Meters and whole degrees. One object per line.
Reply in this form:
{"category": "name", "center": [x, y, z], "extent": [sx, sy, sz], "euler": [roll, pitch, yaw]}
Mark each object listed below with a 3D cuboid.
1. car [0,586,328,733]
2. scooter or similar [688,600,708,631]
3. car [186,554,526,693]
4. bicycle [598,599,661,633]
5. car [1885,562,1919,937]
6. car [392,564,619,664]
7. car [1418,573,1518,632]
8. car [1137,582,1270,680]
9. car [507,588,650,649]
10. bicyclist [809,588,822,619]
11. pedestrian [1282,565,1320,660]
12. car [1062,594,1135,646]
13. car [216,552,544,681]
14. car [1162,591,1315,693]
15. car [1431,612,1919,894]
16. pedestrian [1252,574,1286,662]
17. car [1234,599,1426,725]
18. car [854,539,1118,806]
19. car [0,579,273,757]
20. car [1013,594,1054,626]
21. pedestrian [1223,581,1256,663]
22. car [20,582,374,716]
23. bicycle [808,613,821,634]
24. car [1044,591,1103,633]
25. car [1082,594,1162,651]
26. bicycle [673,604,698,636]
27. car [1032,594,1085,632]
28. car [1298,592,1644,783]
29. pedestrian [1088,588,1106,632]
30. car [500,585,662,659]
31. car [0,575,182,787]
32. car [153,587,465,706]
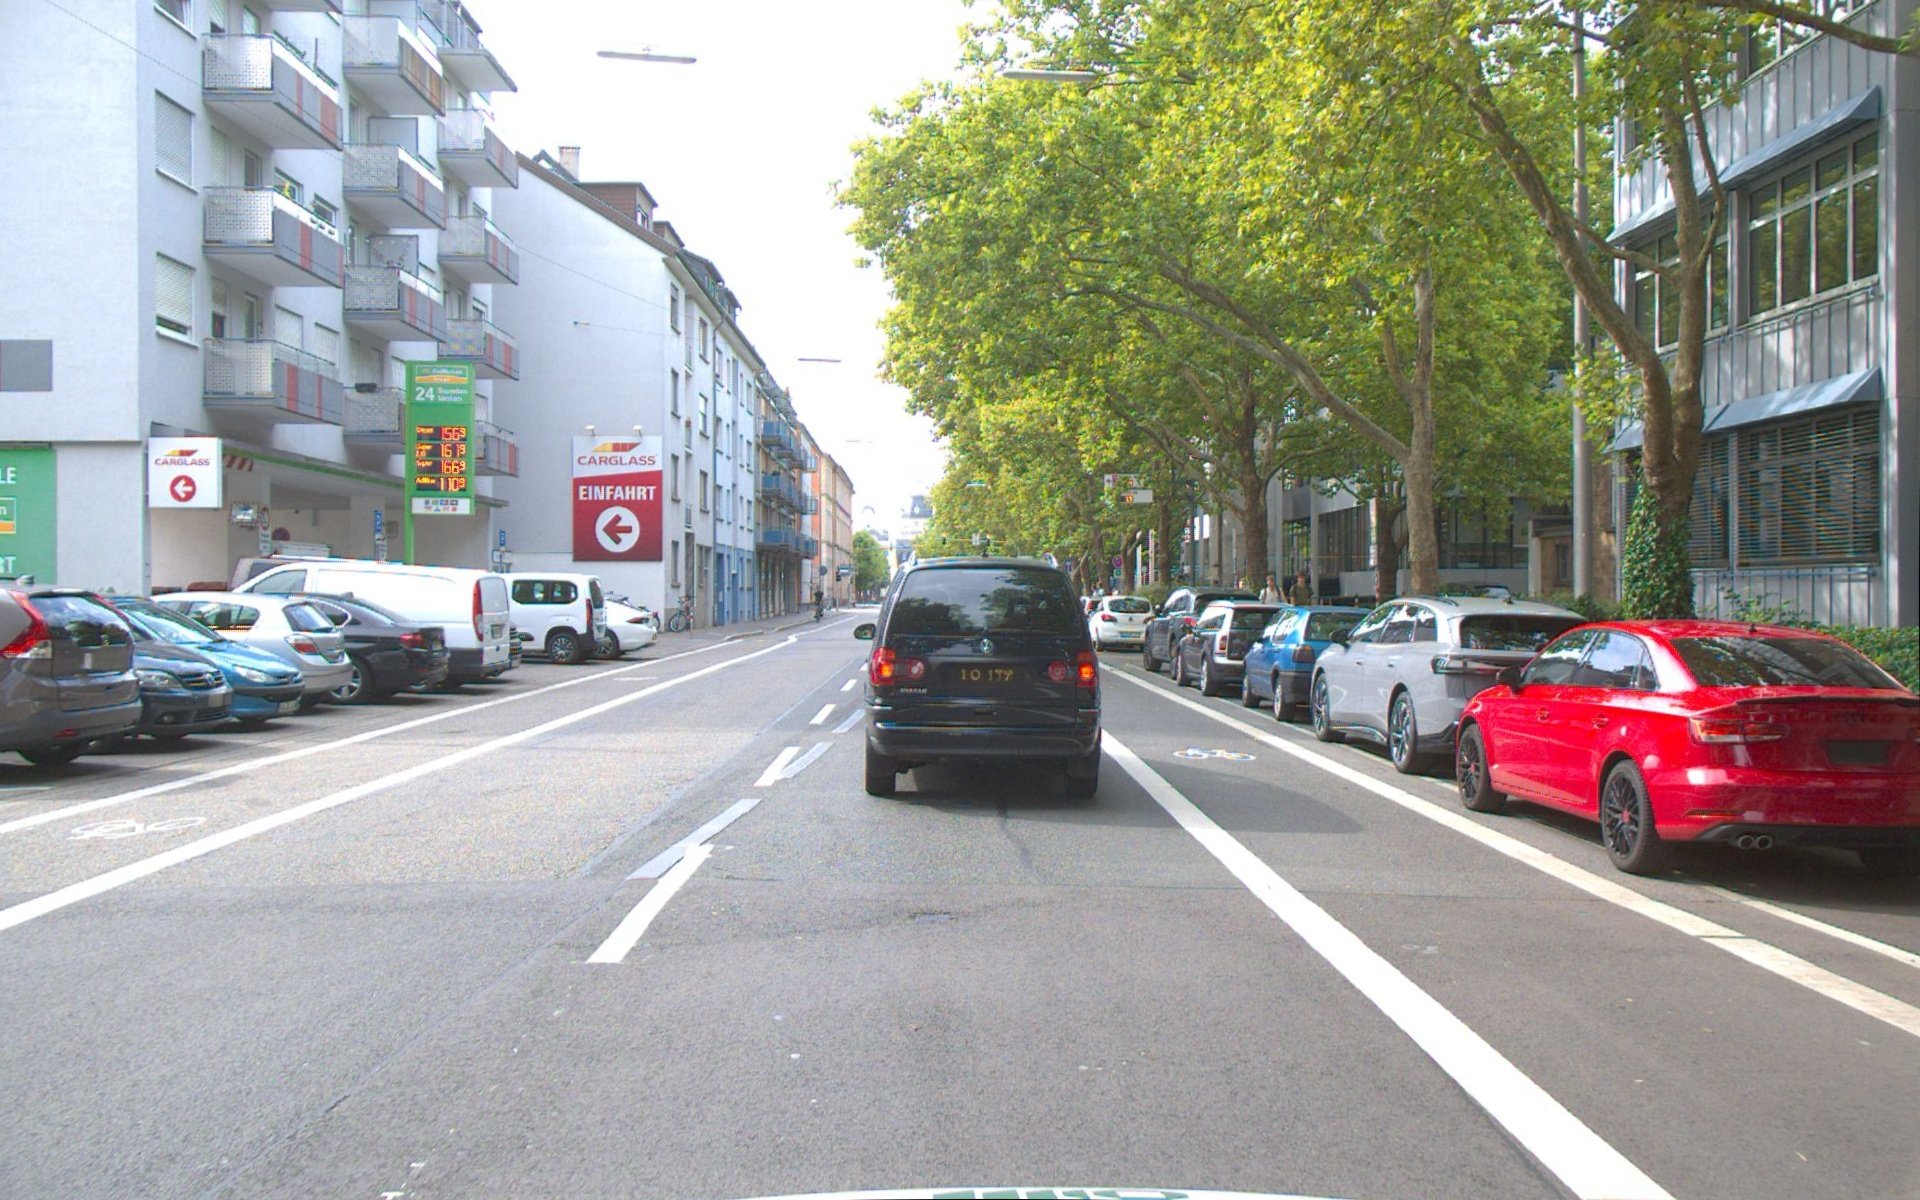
{"category": "car", "center": [-9.243, 0.632, 18.549], "extent": [3.608, 1.451, 1.753], "euler": [2, 0, -2]}
{"category": "scooter or similar", "center": [-9.311, 0.543, 58.743], "extent": [0.619, 1.052, 2.012], "euler": [0, 0, -7]}
{"category": "car", "center": [-9.239, 0.345, 25.598], "extent": [4.434, 1.911, 2.047], "euler": [2, 0, 0]}
{"category": "bicycle", "center": [-10.841, 0.528, 54.321], "extent": [1.967, 1.052, 0.410], "euler": [1, 1, 0]}
{"category": "car", "center": [5.258, 0.696, 5.523], "extent": [1.625, 1.679, 4.416], "euler": [1, 0, -4]}
{"category": "car", "center": [-9.490, 0.294, 34.794], "extent": [4.221, 1.902, 1.823], "euler": [2, 0, -3]}
{"category": "car", "center": [13.776, 0.034, 45.019], "extent": [1.441, 1.484, 3.917], "euler": [1, 1, -1]}
{"category": "car", "center": [4.550, 0.546, 31.537], "extent": [1.635, 1.669, 4.501], "euler": [2, 0, -3]}
{"category": "car", "center": [-9.642, 0.471, 41.985], "extent": [3.276, 1.426, 1.503], "euler": [2, -1, -3]}
{"category": "bicyclist", "center": [-7.766, 0.175, 88.734], "extent": [0.640, 1.639, 0.655], "euler": [1, -3, -4]}
{"category": "pedestrian", "center": [7.350, 0.265, 35.630], "extent": [0.629, 2.010, 0.692], "euler": [1, 1, 0]}
{"category": "car", "center": [4.097, 0.576, 49.247], "extent": [1.609, 1.438, 3.413], "euler": [2, 0, -5]}
{"category": "car", "center": [-9.789, 0.271, 28.217], "extent": [4.817, 1.936, 1.999], "euler": [2, 0, -2]}
{"category": "car", "center": [4.337, 0.622, 26.362], "extent": [1.597, 1.495, 4.316], "euler": [0, 0, -2]}
{"category": "car", "center": [4.571, 0.802, 10.720], "extent": [1.642, 1.418, 4.459], "euler": [0, 0, -2]}
{"category": "pedestrian", "center": [6.677, 0.378, 35.771], "extent": [0.575, 1.870, 0.692], "euler": [1, 1, 0]}
{"category": "car", "center": [4.700, 0.734, 21.520], "extent": [1.588, 1.410, 4.000], "euler": [3, 0, 0]}
{"category": "car", "center": [0.126, 0.500, 13.118], "extent": [1.776, 1.797, 3.736], "euler": [1, 0, -2]}
{"category": "car", "center": [-9.180, 0.614, 16.507], "extent": [3.859, 1.597, 1.754], "euler": [2, 0, 1]}
{"category": "car", "center": [3.554, 0.473, 80.578], "extent": [1.609, 1.513, 3.509], "euler": [0, 0, -5]}
{"category": "pedestrian", "center": [6.034, 0.475, 35.703], "extent": [0.575, 1.731, 0.508], "euler": [1, 1, 0]}
{"category": "car", "center": [-9.534, 0.585, 20.895], "extent": [3.608, 1.511, 1.753], "euler": [2, 0, -2]}
{"category": "bicycle", "center": [-7.769, 1.253, 88.471], "extent": [0.618, 1.052, 2.013], "euler": [1, -3, -3]}
{"category": "car", "center": [4.131, 0.414, 60.591], "extent": [1.609, 1.438, 3.413], "euler": [2, 0, -5]}
{"category": "car", "center": [4.337, 0.582, 44.838], "extent": [1.641, 1.418, 4.460], "euler": [2, 0, -1]}
{"category": "bicycle", "center": [-9.285, 0.657, 55.918], "extent": [0.618, 1.052, 2.013], "euler": [1, 0, -4]}
{"category": "car", "center": [3.882, 0.481, 65.738], "extent": [1.609, 1.419, 3.509], "euler": [2, 0, -5]}
{"category": "car", "center": [4.687, 0.724, 15.977], "extent": [1.693, 1.543, 4.869], "euler": [1, 0, -2]}
{"category": "pedestrian", "center": [5.845, 0.408, 70.640], "extent": [0.751, 1.863, 0.516], "euler": [0, 0, 0]}
{"category": "car", "center": [-8.463, 0.488, 37.112], "extent": [3.276, 1.523, 1.595], "euler": [2, -1, -3]}
{"category": "car", "center": [-9.220, 0.603, 14.143], "extent": [4.169, 1.633, 1.968], "euler": [1, 1, 0]}
{"category": "car", "center": [-8.962, 0.619, 22.996], "extent": [3.607, 1.470, 1.753], "euler": [2, 0, -2]}
